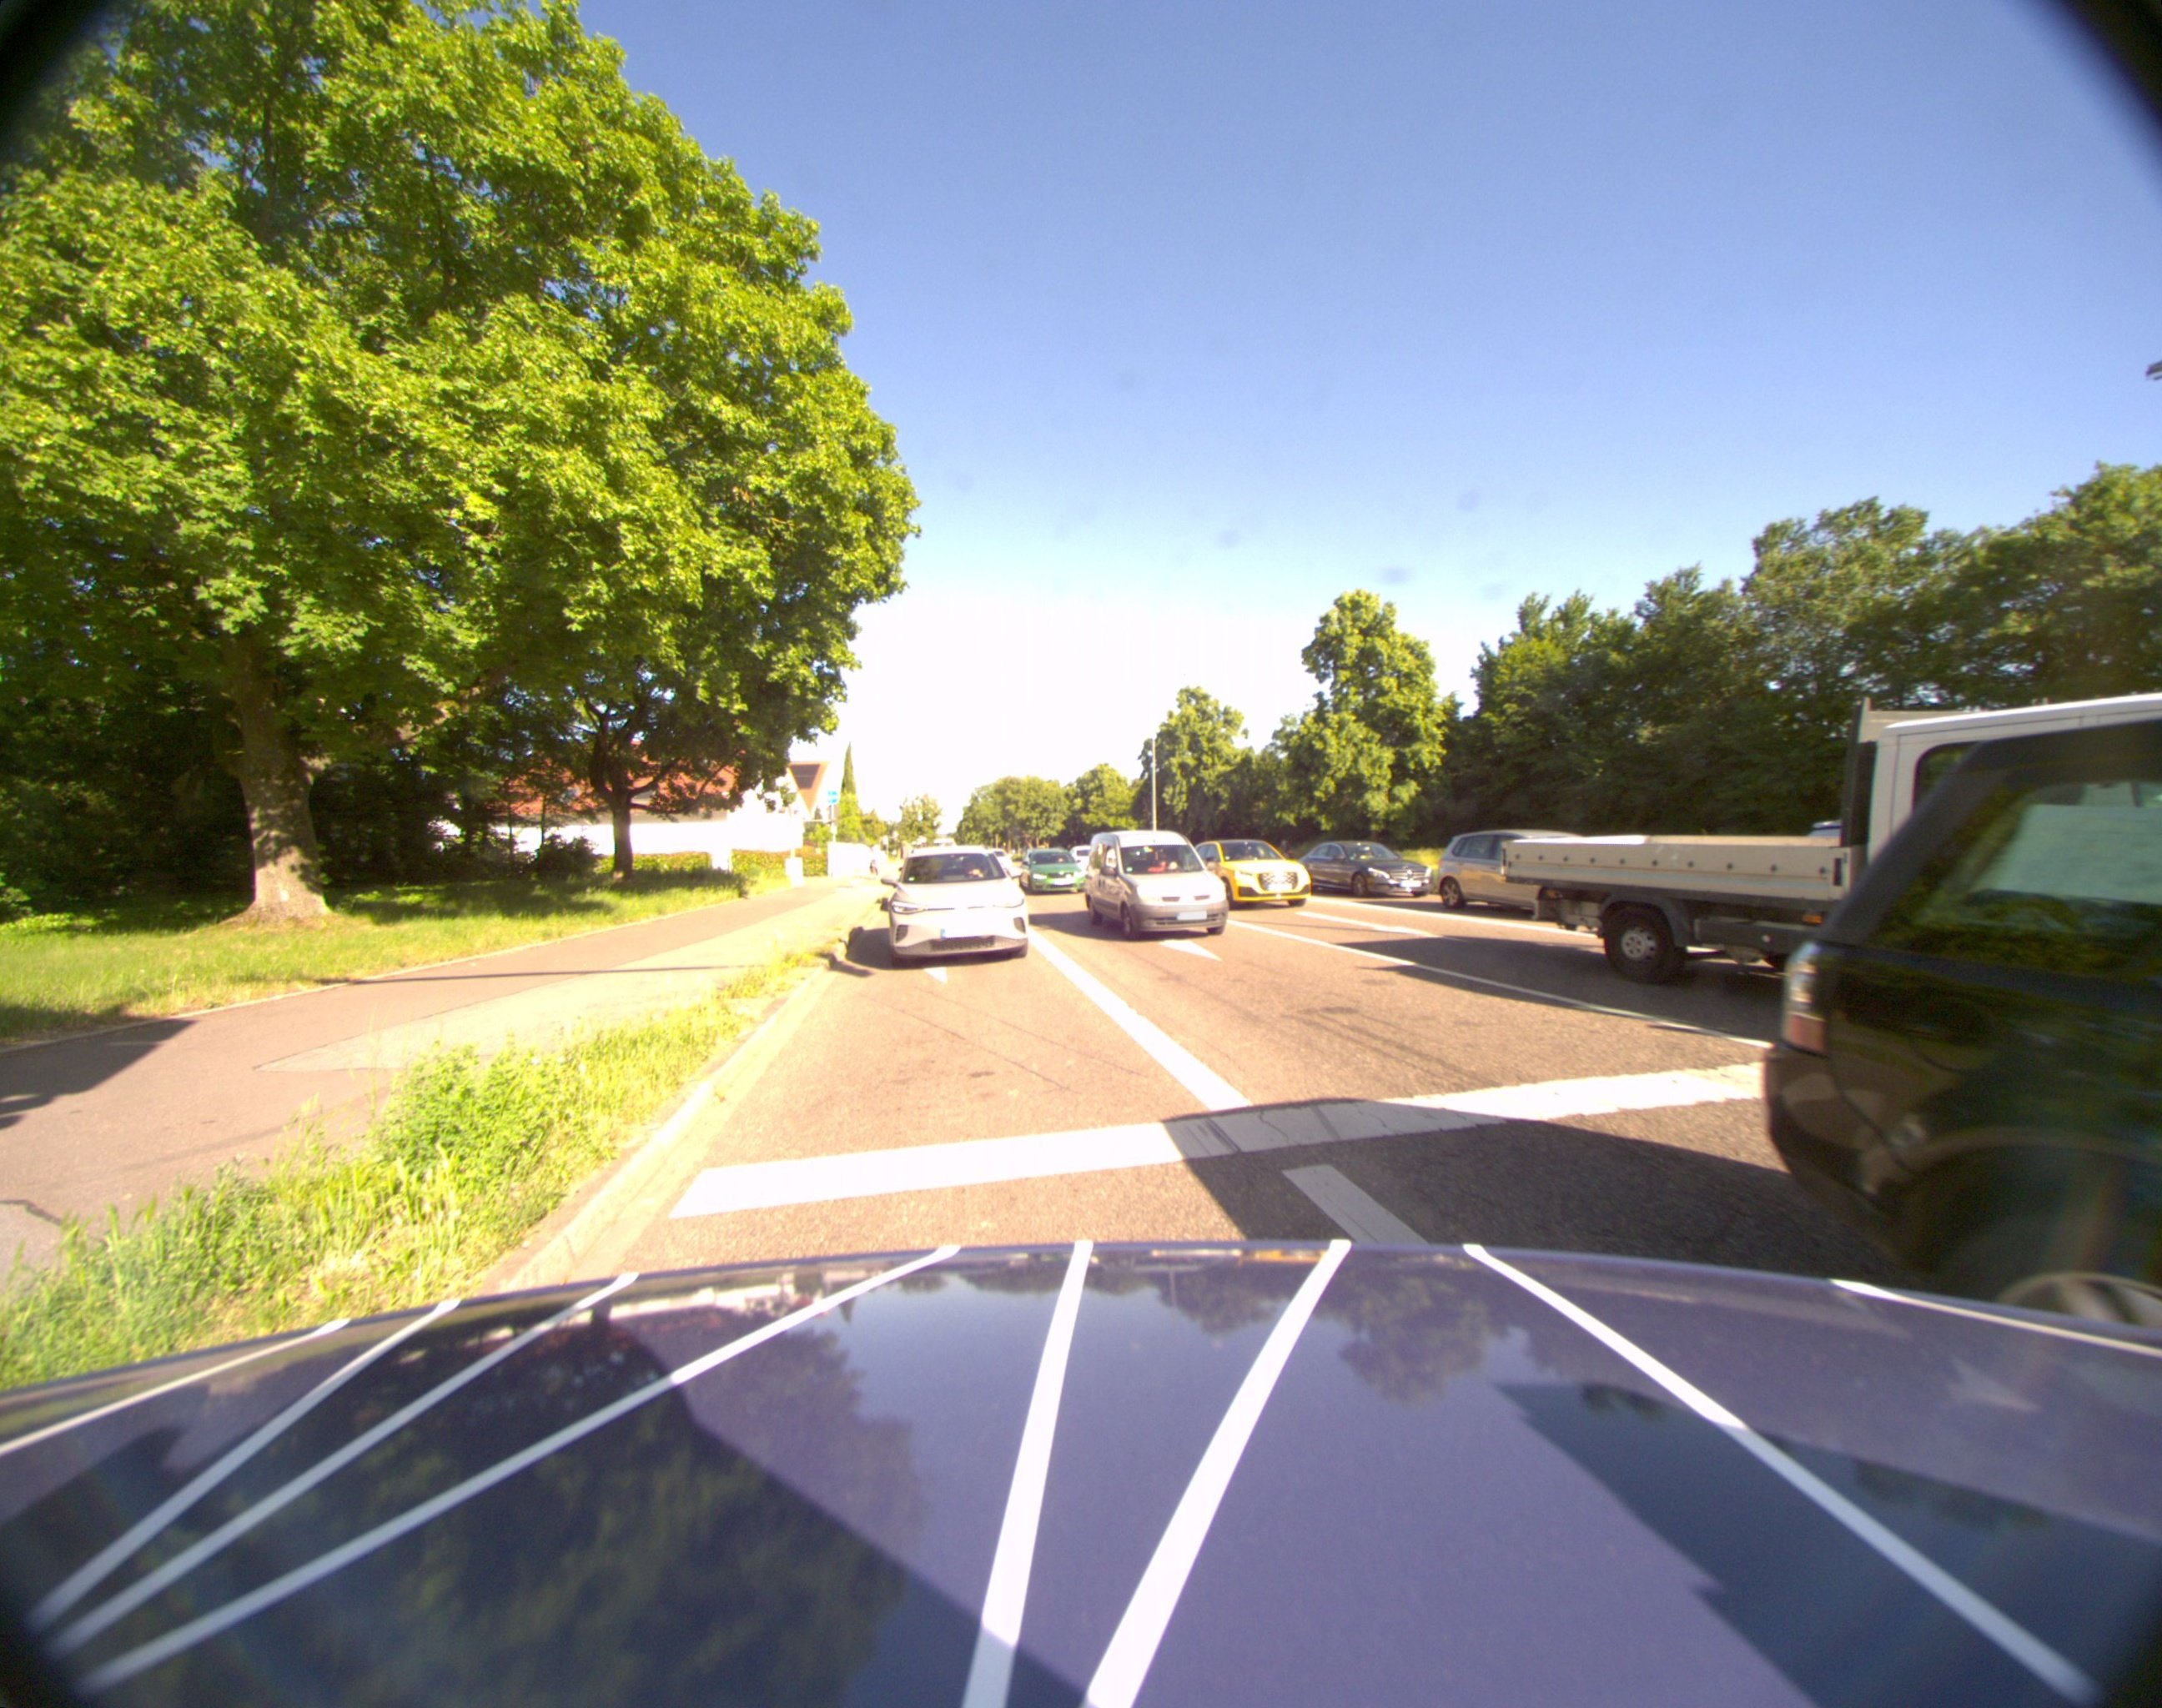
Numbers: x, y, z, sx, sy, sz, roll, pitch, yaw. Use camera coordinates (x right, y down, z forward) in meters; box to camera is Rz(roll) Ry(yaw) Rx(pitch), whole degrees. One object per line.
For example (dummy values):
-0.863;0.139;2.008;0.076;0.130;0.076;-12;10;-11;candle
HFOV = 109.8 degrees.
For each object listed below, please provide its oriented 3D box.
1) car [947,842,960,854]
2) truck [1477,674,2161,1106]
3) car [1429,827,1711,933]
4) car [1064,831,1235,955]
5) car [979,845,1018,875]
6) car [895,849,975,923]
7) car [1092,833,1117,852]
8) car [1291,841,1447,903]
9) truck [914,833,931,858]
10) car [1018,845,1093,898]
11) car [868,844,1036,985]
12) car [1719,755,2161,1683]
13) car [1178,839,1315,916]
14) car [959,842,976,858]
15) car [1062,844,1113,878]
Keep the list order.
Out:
-20.663;-0.932;123.065;1.842;1.788;3.907;-4;2;-11;car
6.476;0.154;5.990;2.192;2.296;6.766;-1;1;-11;truck
8.506;0.358;13.758;1.880;1.566;4.238;-1;1;-11;car
0.988;0.530;13.448;1.921;1.719;4.360;-3;2;-9;car
-4.810;0.314;43.690;1.921;1.477;4.360;-3;2;-9;car
-3.699;0.708;19.300;1.693;1.564;4.116;-4;2;-11;car
2.692;-1.338;88.671;1.918;2.073;4.534;-4;2;-10;car
7.378;0.381;19.999;1.837;1.397;4.350;-1;1;-11;car
-20.775;-1.101;99.663;2.000;3.059;5.801;-4;2;-11;truck
-0.945;0.508;25.369;1.921;1.477;4.360;-3;2;-9;car
-1.946;0.731;11.755;1.994;1.631;4.360;-3;2;-9;car
3.065;0.650;0.121;1.828;1.674;4.387;-2;1;-10;car
3.677;0.445;17.640;1.728;1.492;3.996;-3;2;-9;car
-13.538;-0.505;90.312;1.800;1.788;3.907;-4;2;-11;car
0.252;0.304;36.754;1.693;1.432;3.907;-4;2;-11;car
